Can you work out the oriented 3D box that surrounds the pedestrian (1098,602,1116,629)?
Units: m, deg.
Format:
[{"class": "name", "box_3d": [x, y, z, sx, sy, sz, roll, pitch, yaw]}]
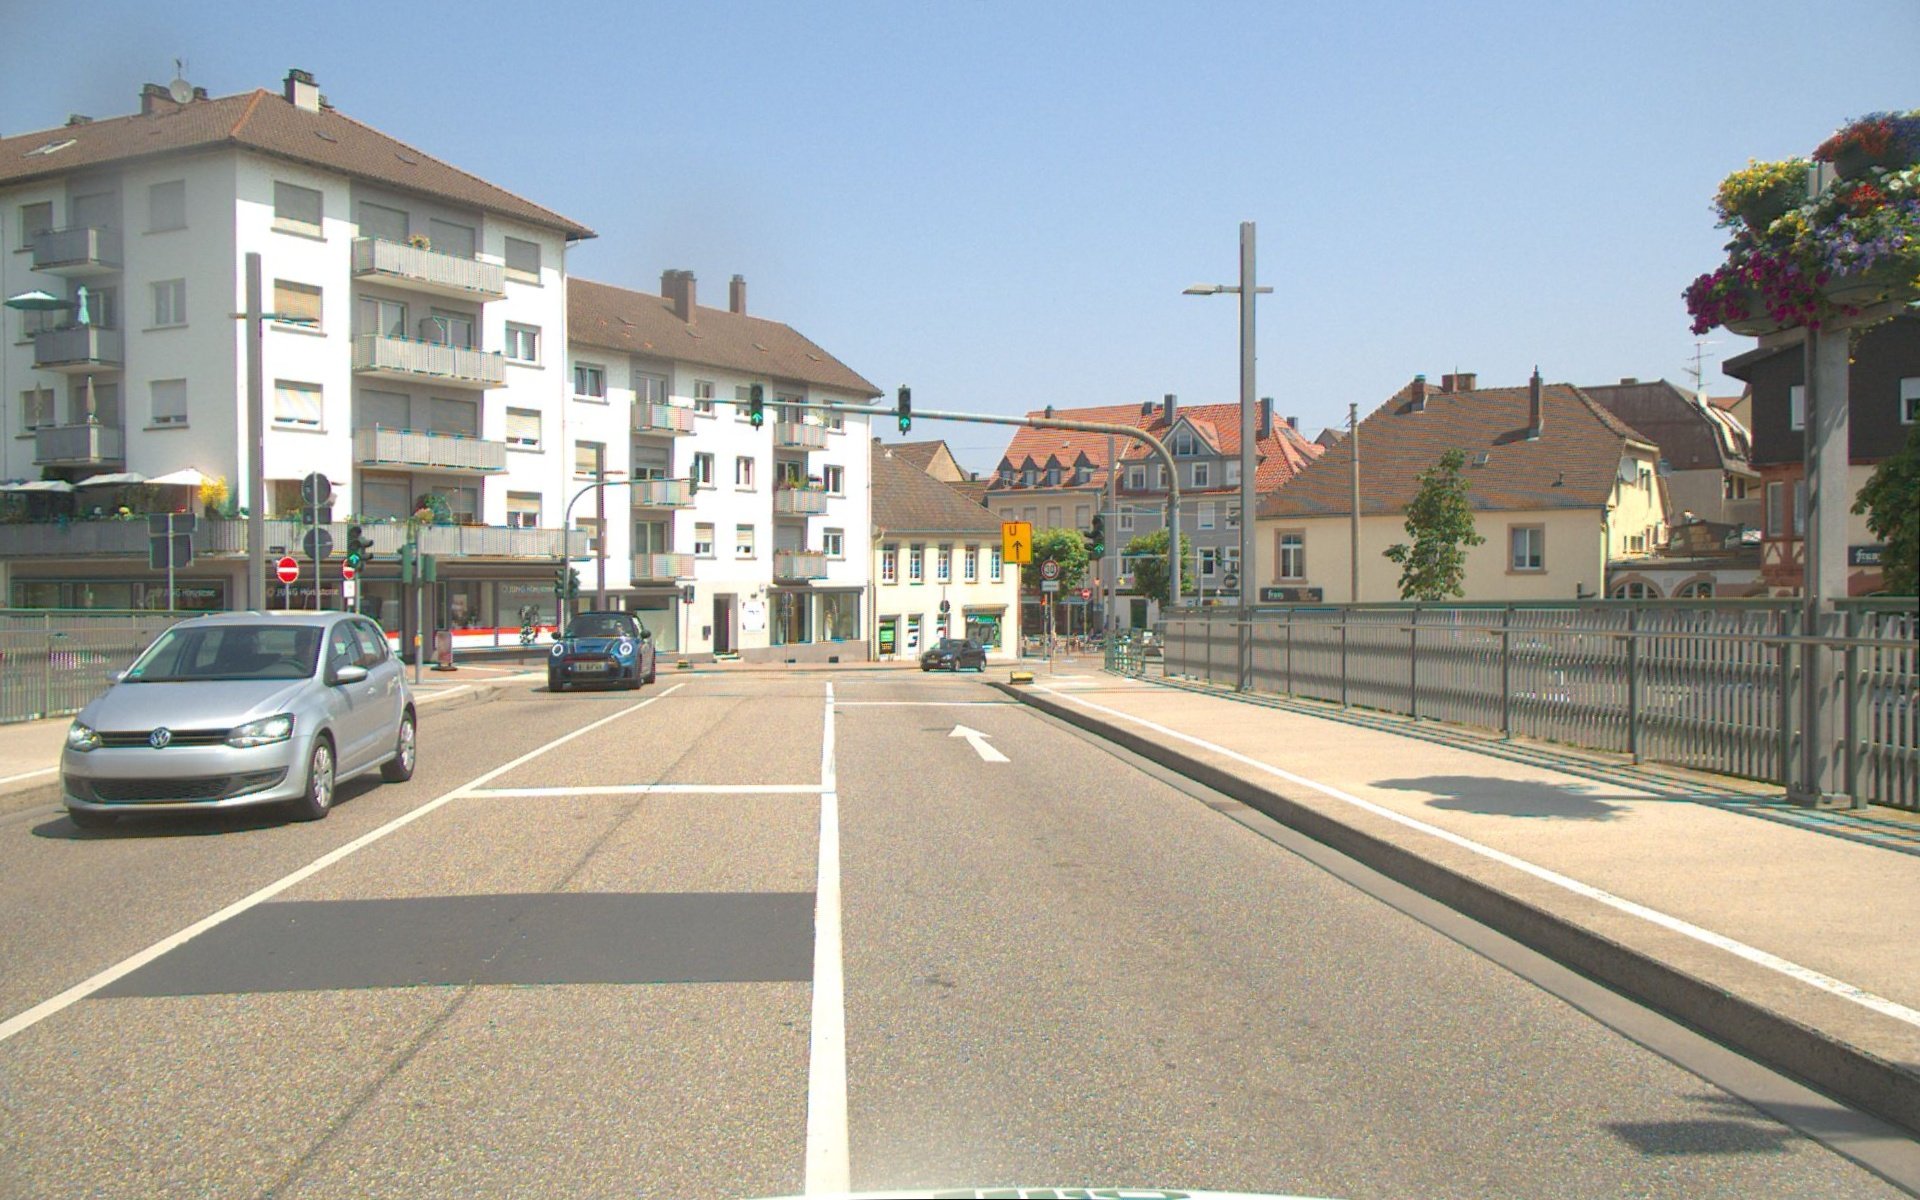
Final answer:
[{"class": "pedestrian", "box_3d": [11.425, 1.193, 128.592, 1.012, 2.015, 1.018, 1, 0, 31]}]

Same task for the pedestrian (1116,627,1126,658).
[{"class": "pedestrian", "box_3d": [10.901, 2.844, 111.712, 0.597, 2.049, 0.555, 1, 0, 8]}]

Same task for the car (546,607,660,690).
[{"class": "car", "box_3d": [-6.810, 0.895, 31.890, 1.624, 1.465, 3.751, -1, -1, -5]}]

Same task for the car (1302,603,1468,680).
[{"class": "car", "box_3d": [15.469, 1.468, 60.275, 5.509, 2.674, 2.238, 0, 0, 30]}]

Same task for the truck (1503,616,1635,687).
[{"class": "truck", "box_3d": [20.893, 1.723, 56.745, 3.981, 2.254, 1.810, 1, 0, 31]}]

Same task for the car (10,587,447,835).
[{"class": "car", "box_3d": [-5.304, 0.693, 12.608, 1.725, 1.545, 3.997, -1, 1, -4]}]

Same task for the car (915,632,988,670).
[{"class": "car", "box_3d": [-0.348, 2.192, 71.548, 1.642, 1.514, 3.953, -3, -1, 24]}]
